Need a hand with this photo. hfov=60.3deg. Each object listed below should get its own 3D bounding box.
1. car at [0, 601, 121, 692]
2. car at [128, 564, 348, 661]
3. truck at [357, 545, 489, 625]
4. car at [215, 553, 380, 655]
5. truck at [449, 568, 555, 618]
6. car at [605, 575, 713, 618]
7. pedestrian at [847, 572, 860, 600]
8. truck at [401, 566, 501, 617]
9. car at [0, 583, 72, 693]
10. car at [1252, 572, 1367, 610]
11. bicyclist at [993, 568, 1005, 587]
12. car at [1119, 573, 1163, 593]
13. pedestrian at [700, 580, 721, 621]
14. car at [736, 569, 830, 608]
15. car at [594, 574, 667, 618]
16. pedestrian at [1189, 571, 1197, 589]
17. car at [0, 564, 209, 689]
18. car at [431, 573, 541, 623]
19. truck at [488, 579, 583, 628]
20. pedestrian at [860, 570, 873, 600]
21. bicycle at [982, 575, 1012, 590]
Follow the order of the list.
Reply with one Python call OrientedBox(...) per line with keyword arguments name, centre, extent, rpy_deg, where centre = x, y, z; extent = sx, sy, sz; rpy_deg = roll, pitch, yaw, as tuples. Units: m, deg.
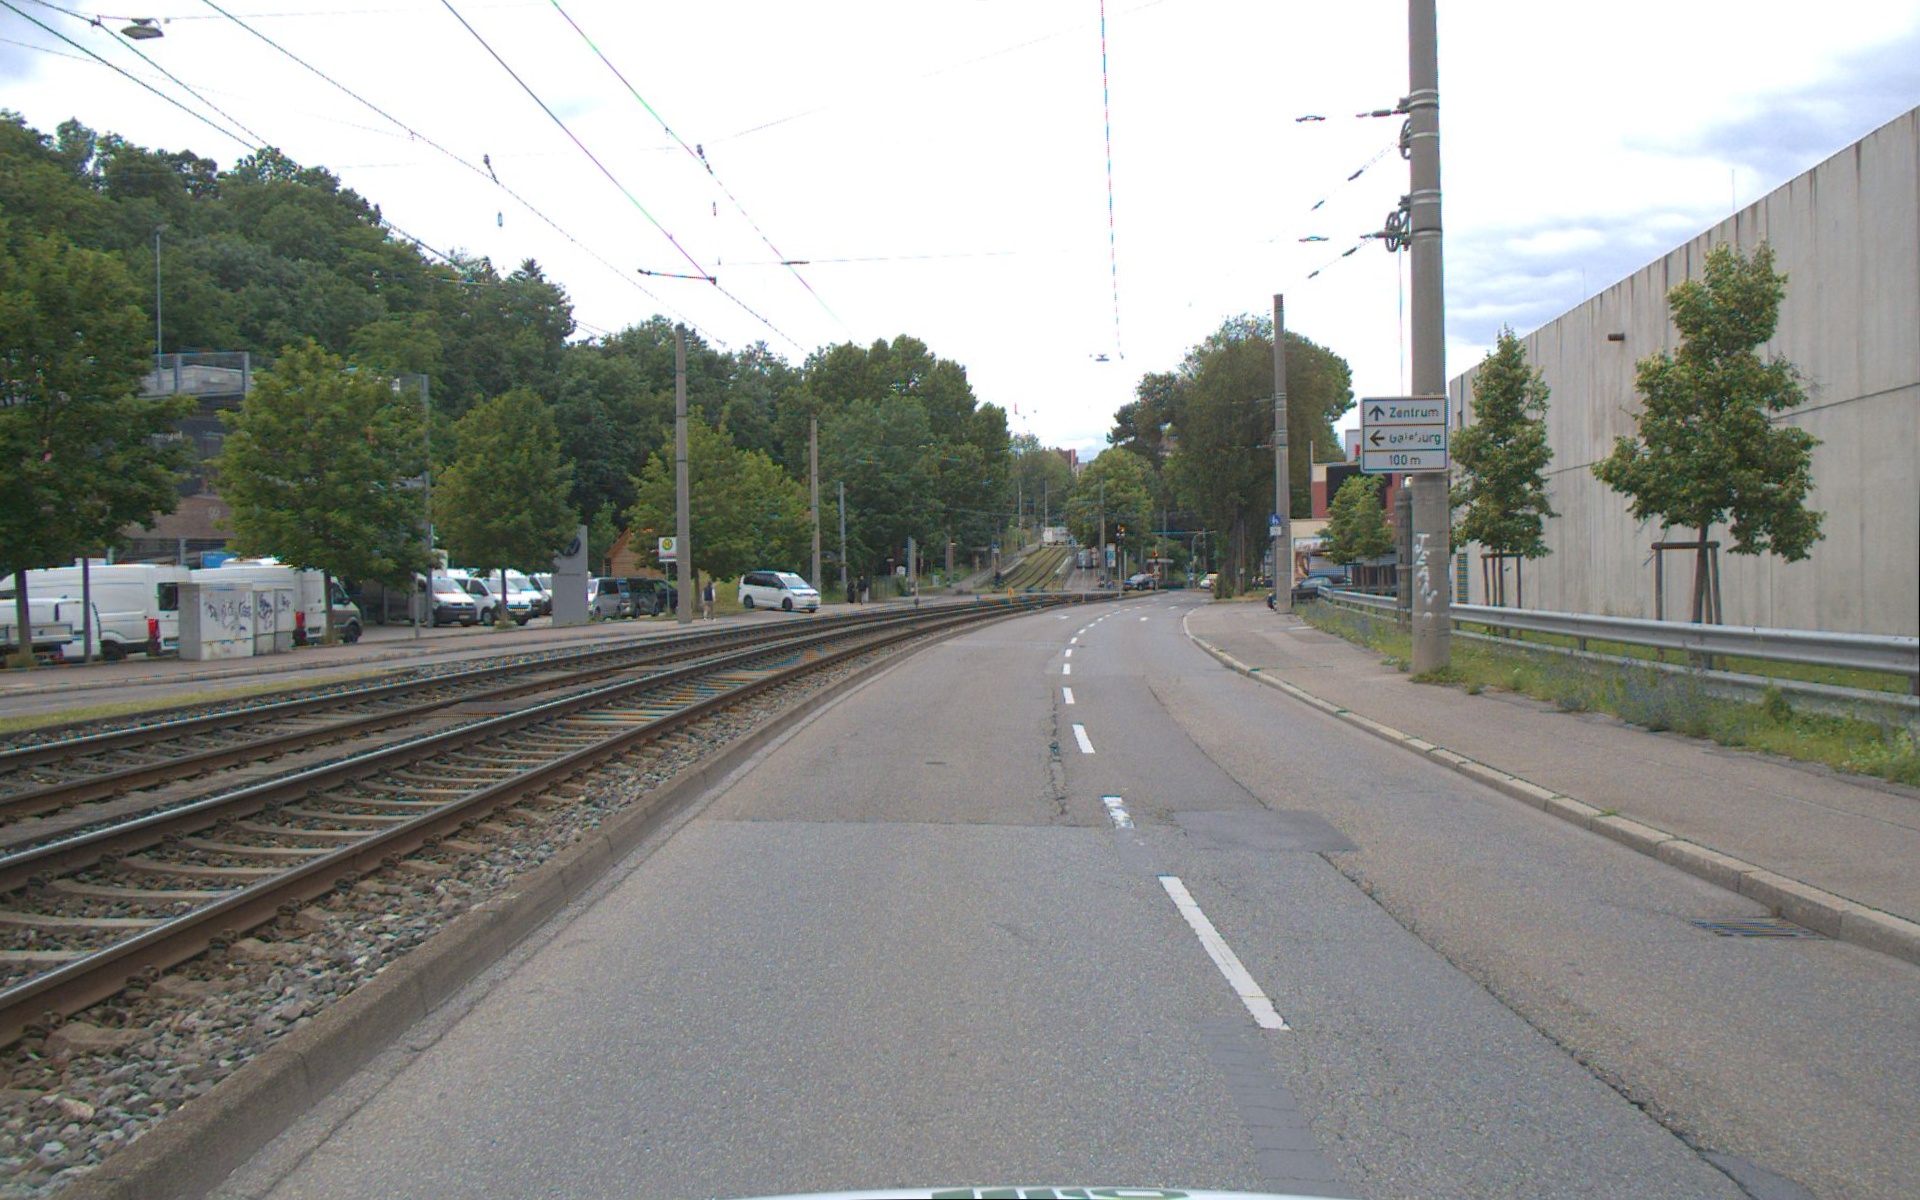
OrientedBox(name="car", centre=(-21.708, 1.040, 37.537), extent=(4.274, 1.944, 2.005), rpy_deg=(-1, 1, 3))
OrientedBox(name="car", centre=(-20.767, 0.336, 47.682), extent=(5.356, 2.647, 2.248), rpy_deg=(-1, 1, 7))
OrientedBox(name="truck", centre=(-21.956, -0.576, 67.506), extent=(5.821, 3.138, 2.111), rpy_deg=(-1, 1, 37))
OrientedBox(name="car", centre=(-21.108, 0.080, 53.047), extent=(2.063, 3.072, 5.942), rpy_deg=(-1, 1, 9))
OrientedBox(name="truck", centre=(-25.320, -0.366, 91.350), extent=(5.656, 2.633, 2.462), rpy_deg=(-1, 1, 32))
OrientedBox(name="car", centre=(-15.292, -0.194, 84.179), extent=(5.002, 2.049, 2.145), rpy_deg=(-2, 1, -30))
OrientedBox(name="pedestrian", centre=(-6.695, -0.916, 104.381), extent=(0.614, 1.743, 0.856), rpy_deg=(1, 1, 10))
OrientedBox(name="truck", centre=(-27.465, -0.460, 89.202), extent=(4.965, 2.633, 2.462), rpy_deg=(-1, 1, 32))
OrientedBox(name="car", centre=(-21.285, 0.798, 34.637), extent=(4.274, 2.211, 2.005), rpy_deg=(-1, 1, 3))
OrientedBox(name="car", centre=(13.975, -0.350, 66.162), extent=(4.149, 1.468, 1.757), rpy_deg=(0, 1, 36))
OrientedBox(name="bicyclist", centre=(3.919, -2.307, 166.567), extent=(1.026, 1.881, 0.824), rpy_deg=(-1, 1, 8))
OrientedBox(name="car", centre=(16.638, -1.560, 152.098), extent=(4.219, 1.559, 1.666), rpy_deg=(3, -6, -42))
OrientedBox(name="pedestrian", centre=(-10.612, 0.015, 70.478), extent=(0.703, 1.684, 1.042), rpy_deg=(1, 1, 0))
OrientedBox(name="car", centre=(-9.353, -0.604, 86.989), extent=(4.982, 1.920, 2.153), rpy_deg=(2, 1, 42))
OrientedBox(name="car", centre=(-15.823, -0.226, 79.706), extent=(1.951, 2.049, 5.134), rpy_deg=(-1, 1, 6))
OrientedBox(name="pedestrian", centre=(23.769, -2.027, 168.446), extent=(0.752, 1.885, 0.911), rpy_deg=(-1, 0, 10))
OrientedBox(name="car", centre=(-20.706, 0.617, 39.803), extent=(4.274, 2.868, 2.005), rpy_deg=(-1, 1, 3))
OrientedBox(name="car", centre=(-20.023, -0.081, 69.804), extent=(4.634, 2.049, 1.994), rpy_deg=(-1, 1, 35))
OrientedBox(name="truck", centre=(-24.121, 0.202, 93.867), extent=(4.965, 2.633, 2.462), rpy_deg=(-1, 1, 32))
OrientedBox(name="pedestrian", centre=(-5.898, -0.938, 104.245), extent=(0.662, 1.844, 0.856), rpy_deg=(1, 1, 10))
OrientedBox(name="bicycle", centre=(3.690, -1.758, 166.618), extent=(2.923, 1.367, 0.827), rpy_deg=(-1, 0, 8))
